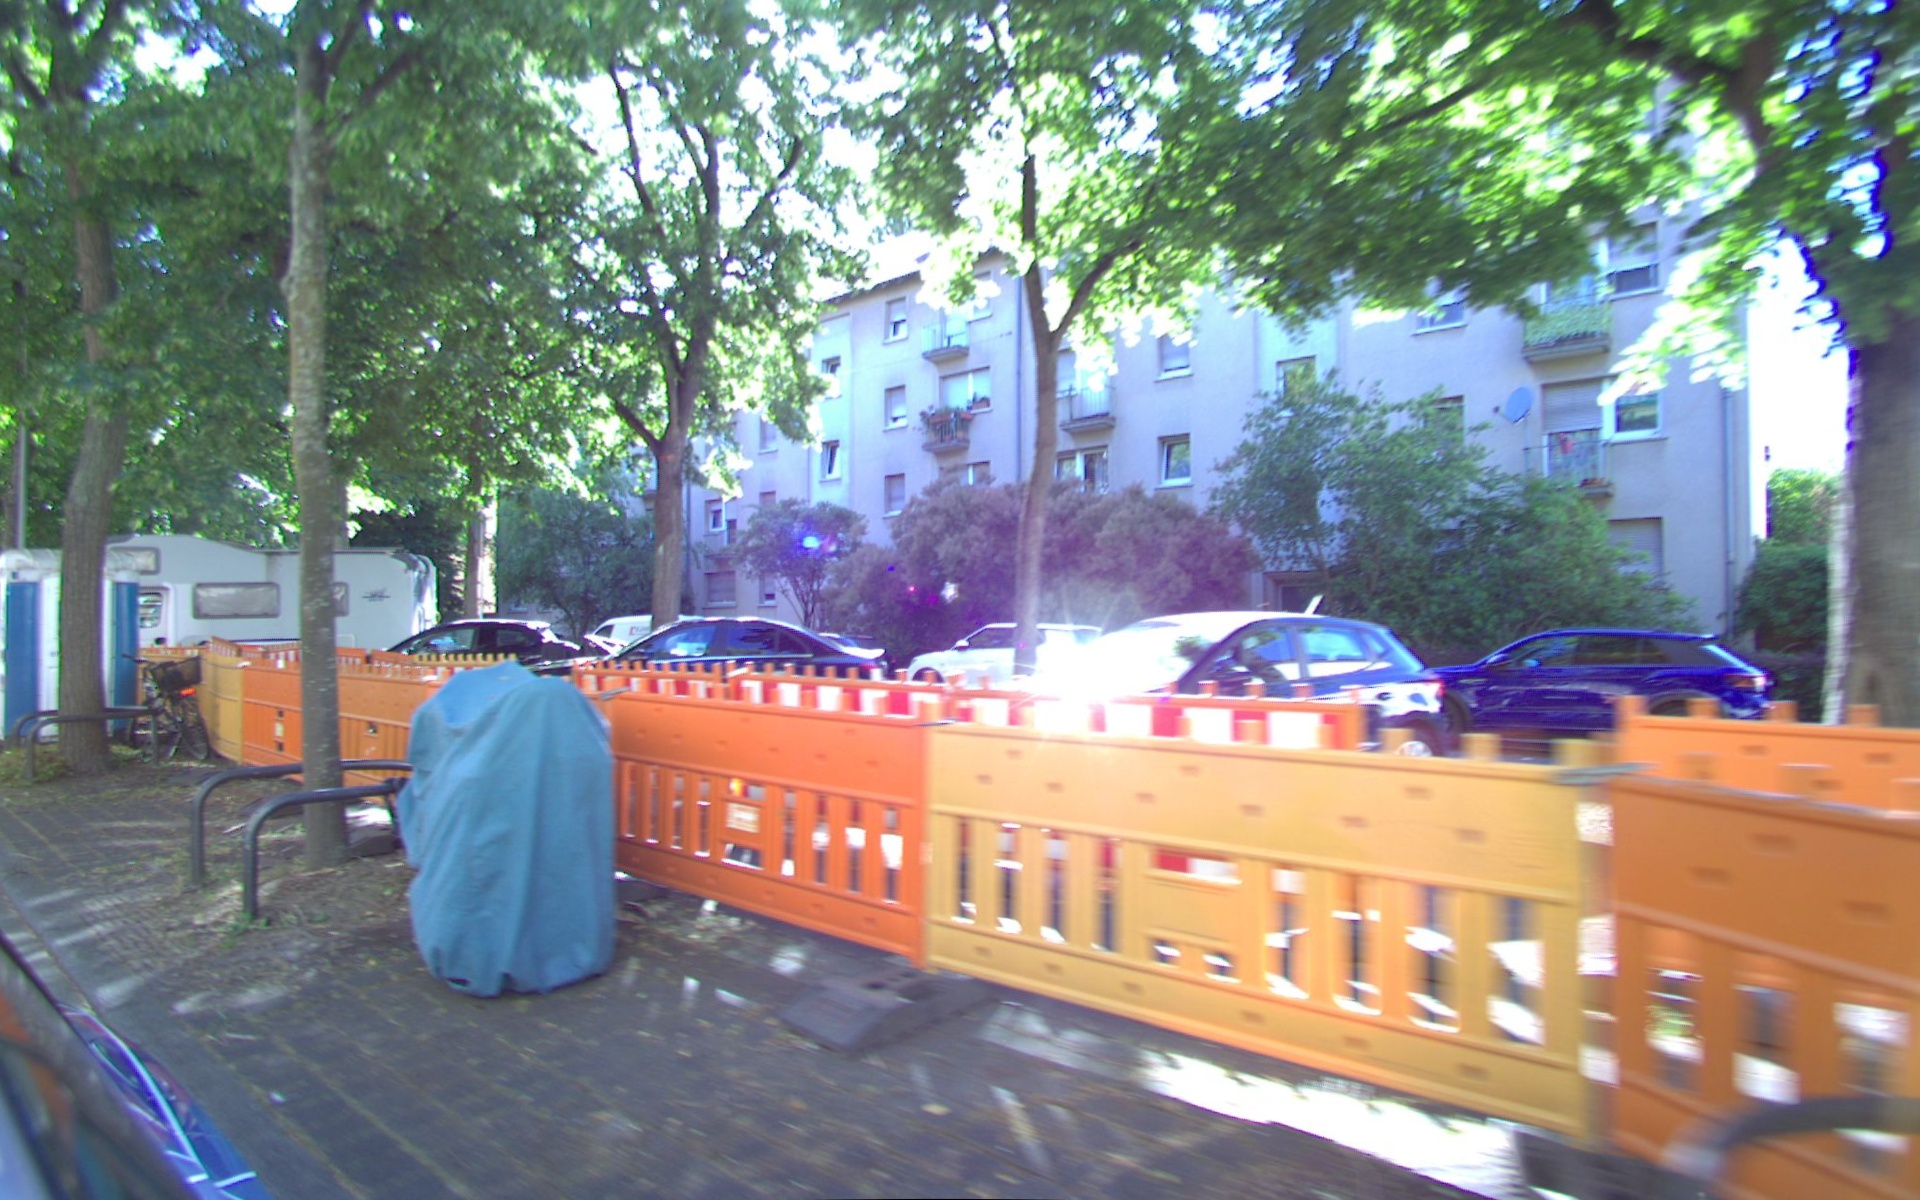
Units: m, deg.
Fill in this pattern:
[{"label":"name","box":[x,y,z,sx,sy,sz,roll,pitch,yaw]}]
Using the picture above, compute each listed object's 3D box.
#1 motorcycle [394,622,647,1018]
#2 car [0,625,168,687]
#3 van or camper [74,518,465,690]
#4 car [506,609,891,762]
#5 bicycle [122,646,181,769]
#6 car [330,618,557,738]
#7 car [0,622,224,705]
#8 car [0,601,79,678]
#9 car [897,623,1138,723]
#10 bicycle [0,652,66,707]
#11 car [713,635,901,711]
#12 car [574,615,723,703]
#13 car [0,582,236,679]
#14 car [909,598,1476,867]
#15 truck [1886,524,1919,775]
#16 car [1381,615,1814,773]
[{"label":"motorcycle","box":[-2.075,0.774,4.562,0.622,1.334,2.234,-1,0,-34]},{"label":"car","box":[-23.031,1.384,25.523,4.446,1.495,1.743,1,-2,-20]},{"label":"van or camper","box":[-13.197,0.141,19.979,5.929,3.025,2.407,1,-2,-21]},{"label":"car","box":[-2.892,0.908,11.508,3.932,1.530,1.675,1,-2,-16]},{"label":"bicycle","box":[-8.248,1.054,10.309,0.277,1.164,1.552,2,-3,-45]},{"label":"car","box":[-7.942,1.164,15.813,2.941,1.730,1.426,0,-2,-18]},{"label":"car","box":[-18.017,1.296,21.155,3.930,1.629,1.803,1,-2,-24]},{"label":"car","box":[-28.727,1.146,29.408,4.322,2.184,1.776,1,-2,-22]},{"label":"car","box":[0.935,1.205,17.935,4.110,1.571,1.701,-2,-2,41]},{"label":"bicycle","box":[-18.233,1.505,18.862,2.345,0.986,0.502,0,-3,-41]},{"label":"car","box":[-3.325,1.478,21.537,4.124,1.454,1.701,-2,-2,41]},{"label":"car","box":[-7.912,1.428,25.505,4.265,2.029,1.603,-2,-1,42]},{"label":"car","box":[-24.103,0.860,28.115,6.094,2.530,2.145,1,-2,-22]},{"label":"car","box":[1.713,0.775,7.198,3.846,1.472,1.582,1,-2,-29]},{"label":"truck","box":[11.358,0.456,9.206,4.263,2.428,1.901,-2,-3,43]},{"label":"car","box":[7.507,1.008,12.216,4.188,1.586,1.605,-2,-1,39]}]
